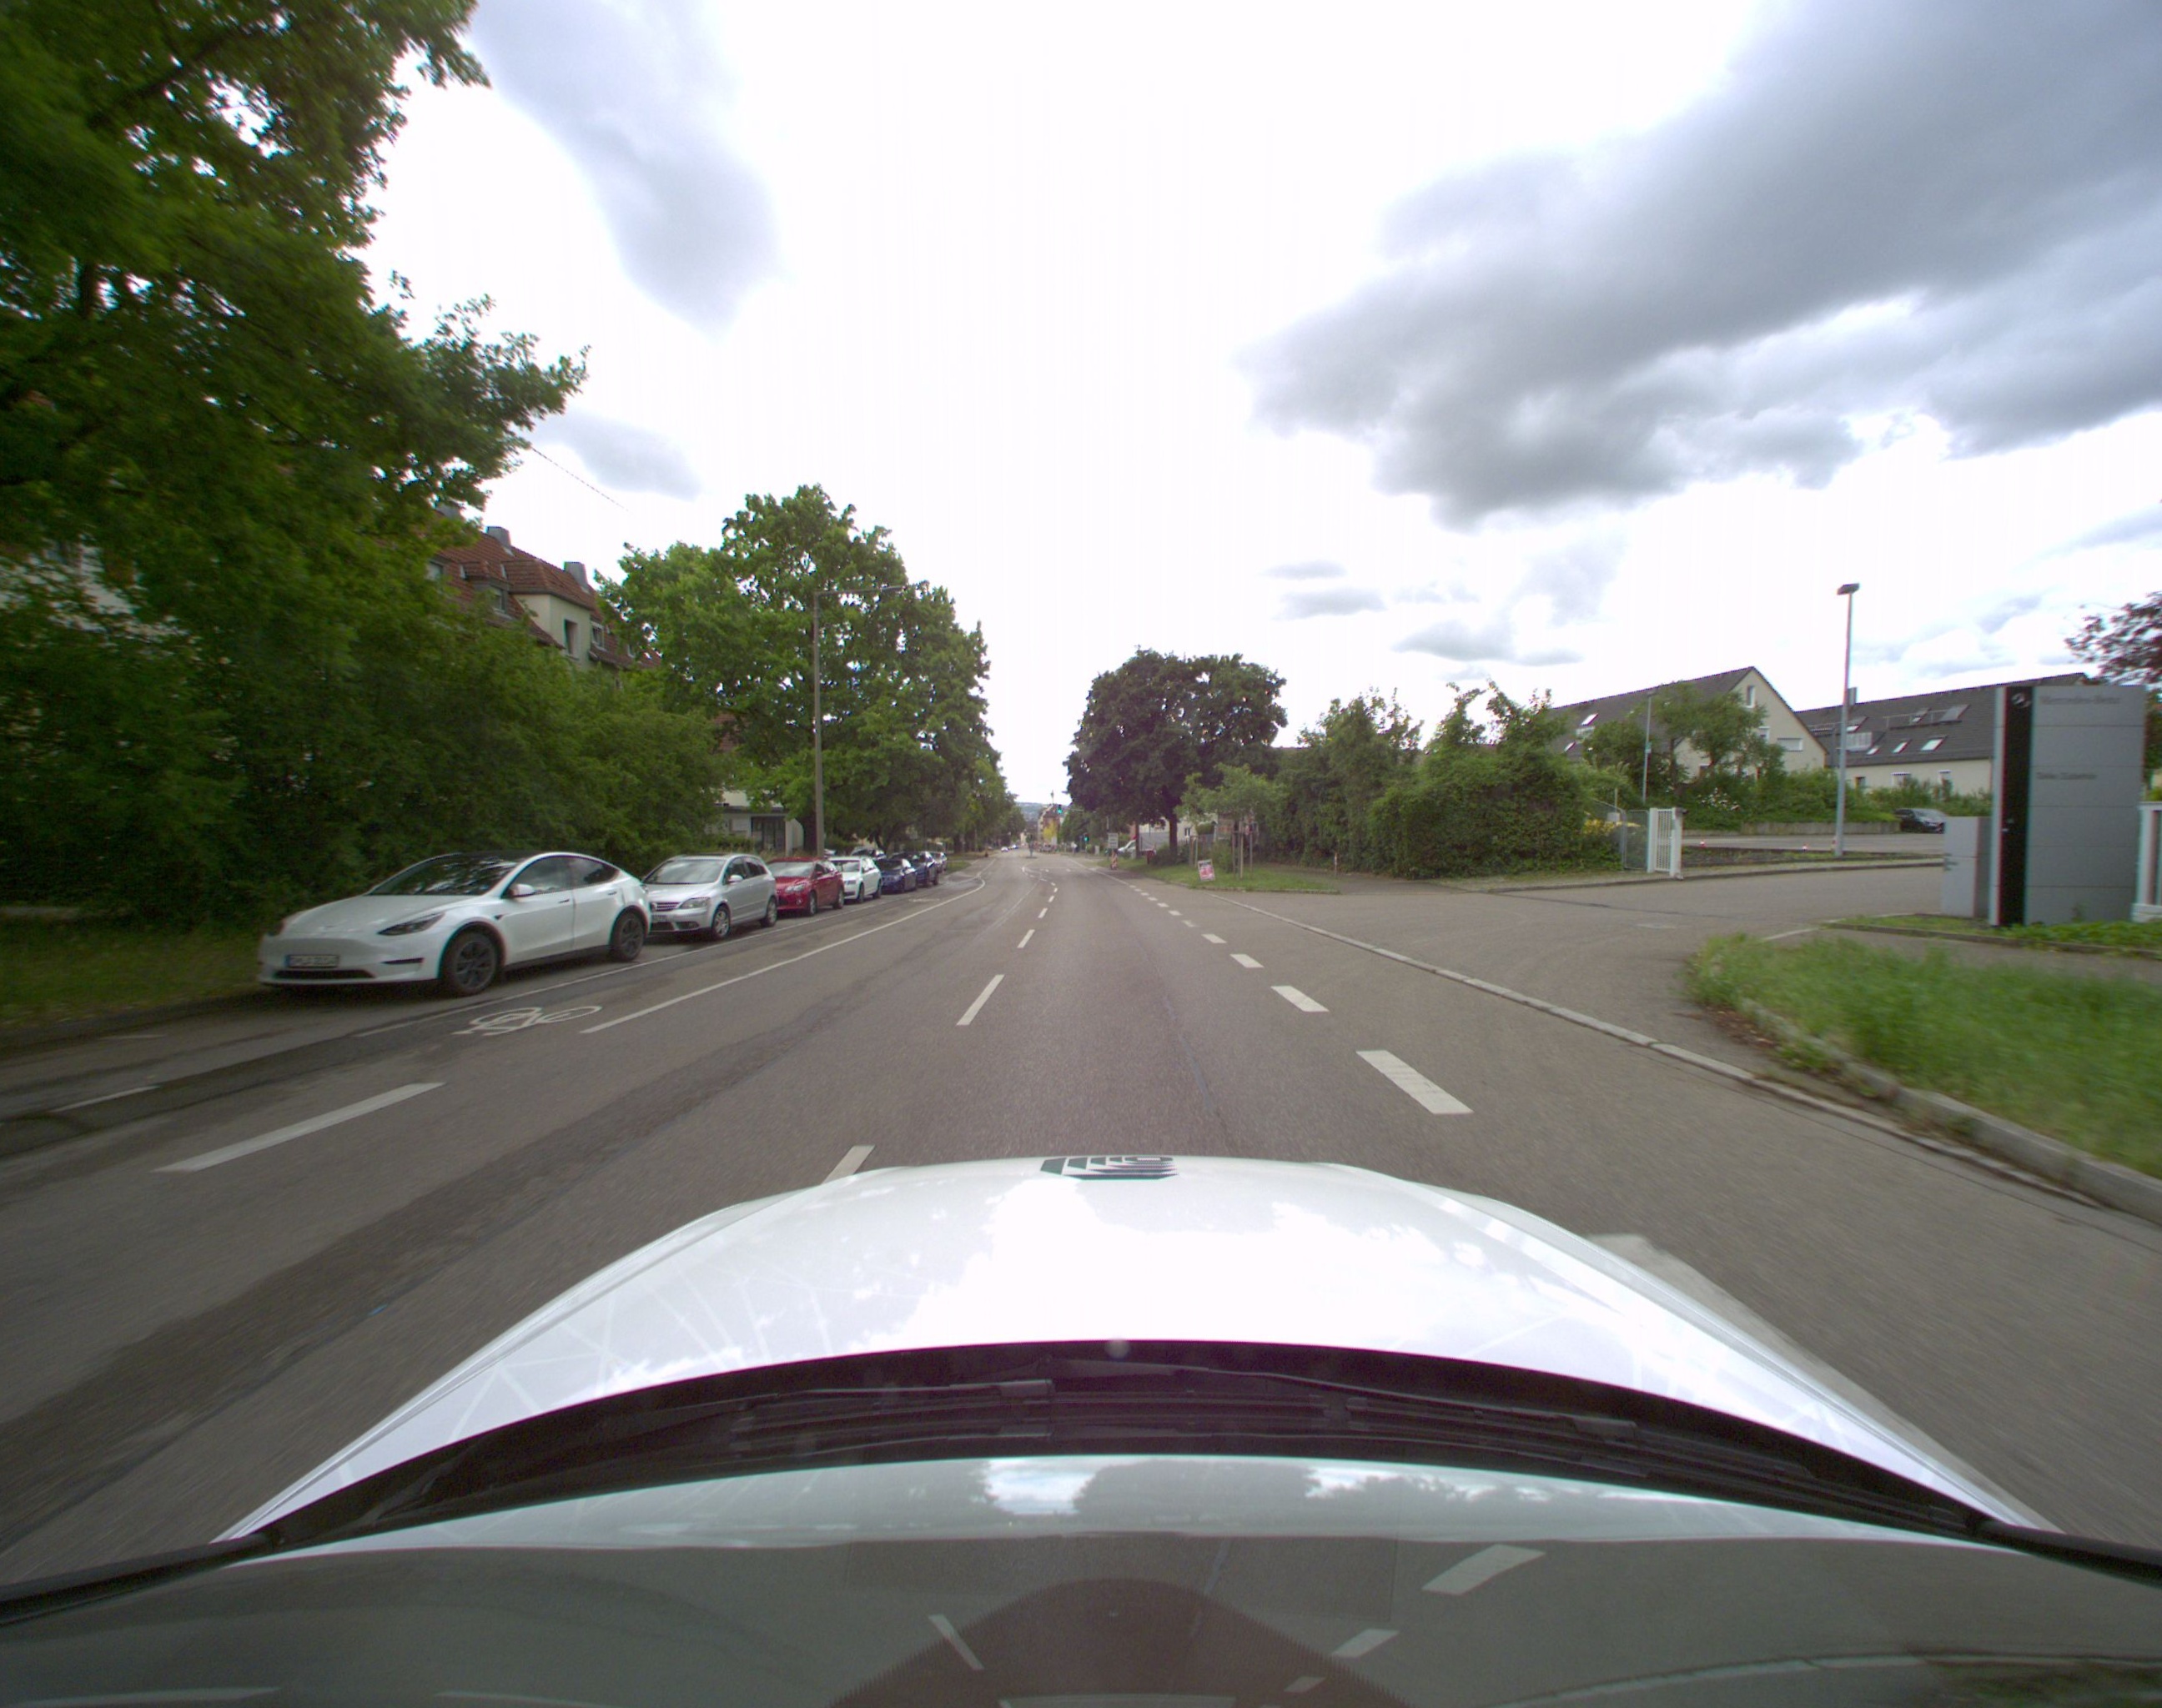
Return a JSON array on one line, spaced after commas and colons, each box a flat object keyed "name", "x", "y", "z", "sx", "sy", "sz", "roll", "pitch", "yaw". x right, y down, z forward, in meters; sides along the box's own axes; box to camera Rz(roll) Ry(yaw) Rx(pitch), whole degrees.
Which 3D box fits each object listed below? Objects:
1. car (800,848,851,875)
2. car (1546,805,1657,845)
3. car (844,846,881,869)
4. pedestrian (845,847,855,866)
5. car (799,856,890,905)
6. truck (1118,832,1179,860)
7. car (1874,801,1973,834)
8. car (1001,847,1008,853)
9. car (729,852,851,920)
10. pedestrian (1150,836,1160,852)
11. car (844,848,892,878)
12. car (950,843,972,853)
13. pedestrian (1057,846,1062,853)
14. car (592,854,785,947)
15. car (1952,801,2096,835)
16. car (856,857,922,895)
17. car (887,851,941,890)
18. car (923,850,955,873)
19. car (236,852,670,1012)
[{"name": "car", "x": -15.203, "y": 0.417, "z": 48.675, "sx": 1.757, "sy": 1.470, "sz": 4.436, "roll": 3, "pitch": 0, "yaw": -3}, {"name": "car", "x": 22.629, "y": -1.229, "z": 35.429, "sx": 3.948, "sy": 1.651, "sz": 2.013, "roll": 1, "pitch": 0, "yaw": 35}, {"name": "car", "x": -15.963, "y": 0.215, "z": 59.777, "sx": 1.758, "sy": 1.633, "sz": 4.283, "roll": 1, "pitch": 0, "yaw": -4}, {"name": "pedestrian", "x": -19.615, "y": 0.214, "z": 69.178, "sx": 0.629, "sy": 1.613, "sz": 0.828, "roll": 1, "pitch": 0, "yaw": -6}, {"name": "car", "x": -7.610, "y": 0.794, "z": 26.626, "sx": 1.711, "sy": 1.459, "sz": 4.753, "roll": 0, "pitch": 0, "yaw": -2}, {"name": "truck", "x": 8.248, "y": -0.972, "z": 99.682, "sx": 7.217, "sy": 3.307, "sz": 2.535, "roll": 0, "pitch": 1, "yaw": -6}, {"name": "car", "x": 49.322, "y": -2.099, "z": 47.805, "sx": 1.785, "sy": 1.751, "sz": 4.092, "roll": 1, "pitch": 0, "yaw": 4}, {"name": "car", "x": -22.398, "y": -1.147, "z": 238.733, "sx": 1.990, "sy": 1.505, "sz": 3.993, "roll": 1, "pitch": 0, "yaw": -5}, {"name": "car", "x": -7.438, "y": 0.749, "z": 21.259, "sx": 1.711, "sy": 1.573, "sz": 4.367, "roll": 0, "pitch": 0, "yaw": -2}, {"name": "pedestrian", "x": 8.428, "y": -1.137, "z": 92.443, "sx": 0.750, "sy": 1.855, "sz": 0.949, "roll": -3, "pitch": 1, "yaw": -19}, {"name": "car", "x": -12.544, "y": 0.488, "z": 48.268, "sx": 1.756, "sy": 1.633, "sz": 3.999, "roll": 3, "pitch": 0, "yaw": -1}, {"name": "car", "x": -19.930, "y": -1.031, "z": 135.632, "sx": 3.444, "sy": 1.596, "sz": 1.996, "roll": 1, "pitch": 0, "yaw": -6}, {"name": "pedestrian", "x": -5.755, "y": -1.077, "z": 214.889, "sx": 1.197, "sy": 1.810, "sz": 1.299, "roll": 1, "pitch": 0, "yaw": -4}, {"name": "car", "x": -7.396, "y": 0.783, "z": 15.868, "sx": 1.863, "sy": 1.573, "sz": 4.117, "roll": 0, "pitch": 0, "yaw": -2}, {"name": "car", "x": 41.371, "y": -1.535, "z": 35.875, "sx": 2.012, "sy": 1.368, "sz": 3.990, "roll": 0, "pitch": 0, "yaw": -45}, {"name": "car", "x": -7.576, "y": 0.830, "z": 32.544, "sx": 1.711, "sy": 1.389, "sz": 4.335, "roll": 0, "pitch": 0, "yaw": -2}, {"name": "car", "x": -7.722, "y": 0.703, "z": 38.022, "sx": 1.711, "sy": 1.612, "sz": 4.532, "roll": 0, "pitch": 1, "yaw": -2}, {"name": "car", "x": -10.580, "y": 0.556, "z": 61.006, "sx": 1.757, "sy": 1.633, "sz": 4.748, "roll": 1, "pitch": 0, "yaw": -3}, {"name": "car", "x": -7.501, "y": 0.783, "z": 10.544, "sx": 1.760, "sy": 1.573, "sz": 4.762, "roll": -1, "pitch": 0, "yaw": 2}]
